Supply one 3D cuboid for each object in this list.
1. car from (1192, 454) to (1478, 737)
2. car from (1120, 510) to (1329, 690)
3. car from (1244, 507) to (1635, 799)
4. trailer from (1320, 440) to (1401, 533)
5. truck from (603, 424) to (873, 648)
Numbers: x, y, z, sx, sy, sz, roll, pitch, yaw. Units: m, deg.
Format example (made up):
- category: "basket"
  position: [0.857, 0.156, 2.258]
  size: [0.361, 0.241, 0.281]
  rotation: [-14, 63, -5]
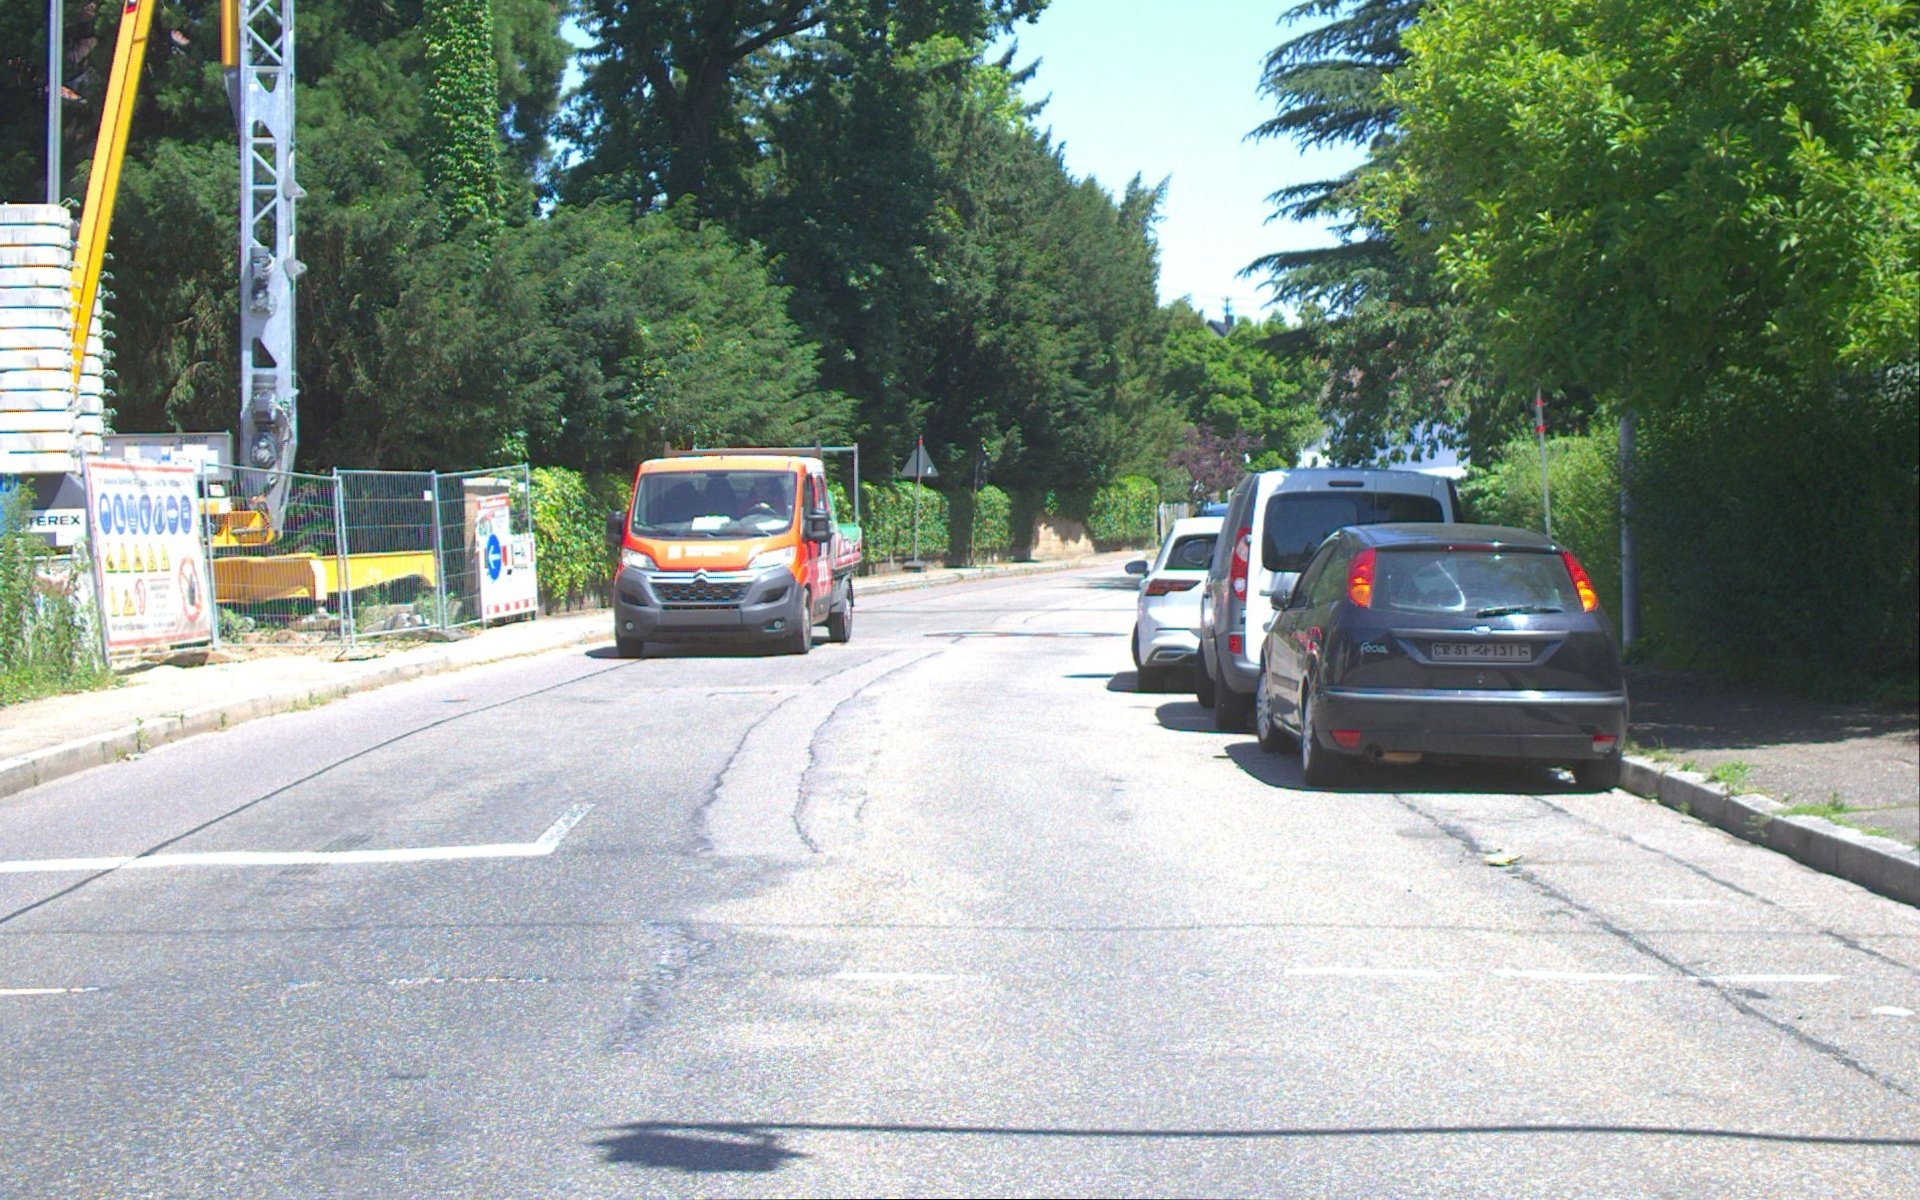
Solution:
- category: "car"
  position: [2.597, -0.081, 24.628]
  size: [1.662, 1.797, 4.203]
  rotation: [2, 1, 2]
- category: "car"
  position: [2.283, -0.048, 29.940]
  size: [1.662, 1.430, 4.128]
  rotation: [1, 1, 4]
- category: "car"
  position: [2.643, 0.222, 19.771]
  size: [1.628, 1.458, 4.017]
  rotation: [2, 1, 0]
- category: "trailer"
  position: [9.239, -2.618, 79.119]
  size: [1.680, 2.060, 3.707]
  rotation: [1, 2, 9]
- category: "truck"
  position: [-2.393, -0.763, 38.984]
  size: [2.128, 2.331, 6.434]
  rotation: [0, 2, 5]
